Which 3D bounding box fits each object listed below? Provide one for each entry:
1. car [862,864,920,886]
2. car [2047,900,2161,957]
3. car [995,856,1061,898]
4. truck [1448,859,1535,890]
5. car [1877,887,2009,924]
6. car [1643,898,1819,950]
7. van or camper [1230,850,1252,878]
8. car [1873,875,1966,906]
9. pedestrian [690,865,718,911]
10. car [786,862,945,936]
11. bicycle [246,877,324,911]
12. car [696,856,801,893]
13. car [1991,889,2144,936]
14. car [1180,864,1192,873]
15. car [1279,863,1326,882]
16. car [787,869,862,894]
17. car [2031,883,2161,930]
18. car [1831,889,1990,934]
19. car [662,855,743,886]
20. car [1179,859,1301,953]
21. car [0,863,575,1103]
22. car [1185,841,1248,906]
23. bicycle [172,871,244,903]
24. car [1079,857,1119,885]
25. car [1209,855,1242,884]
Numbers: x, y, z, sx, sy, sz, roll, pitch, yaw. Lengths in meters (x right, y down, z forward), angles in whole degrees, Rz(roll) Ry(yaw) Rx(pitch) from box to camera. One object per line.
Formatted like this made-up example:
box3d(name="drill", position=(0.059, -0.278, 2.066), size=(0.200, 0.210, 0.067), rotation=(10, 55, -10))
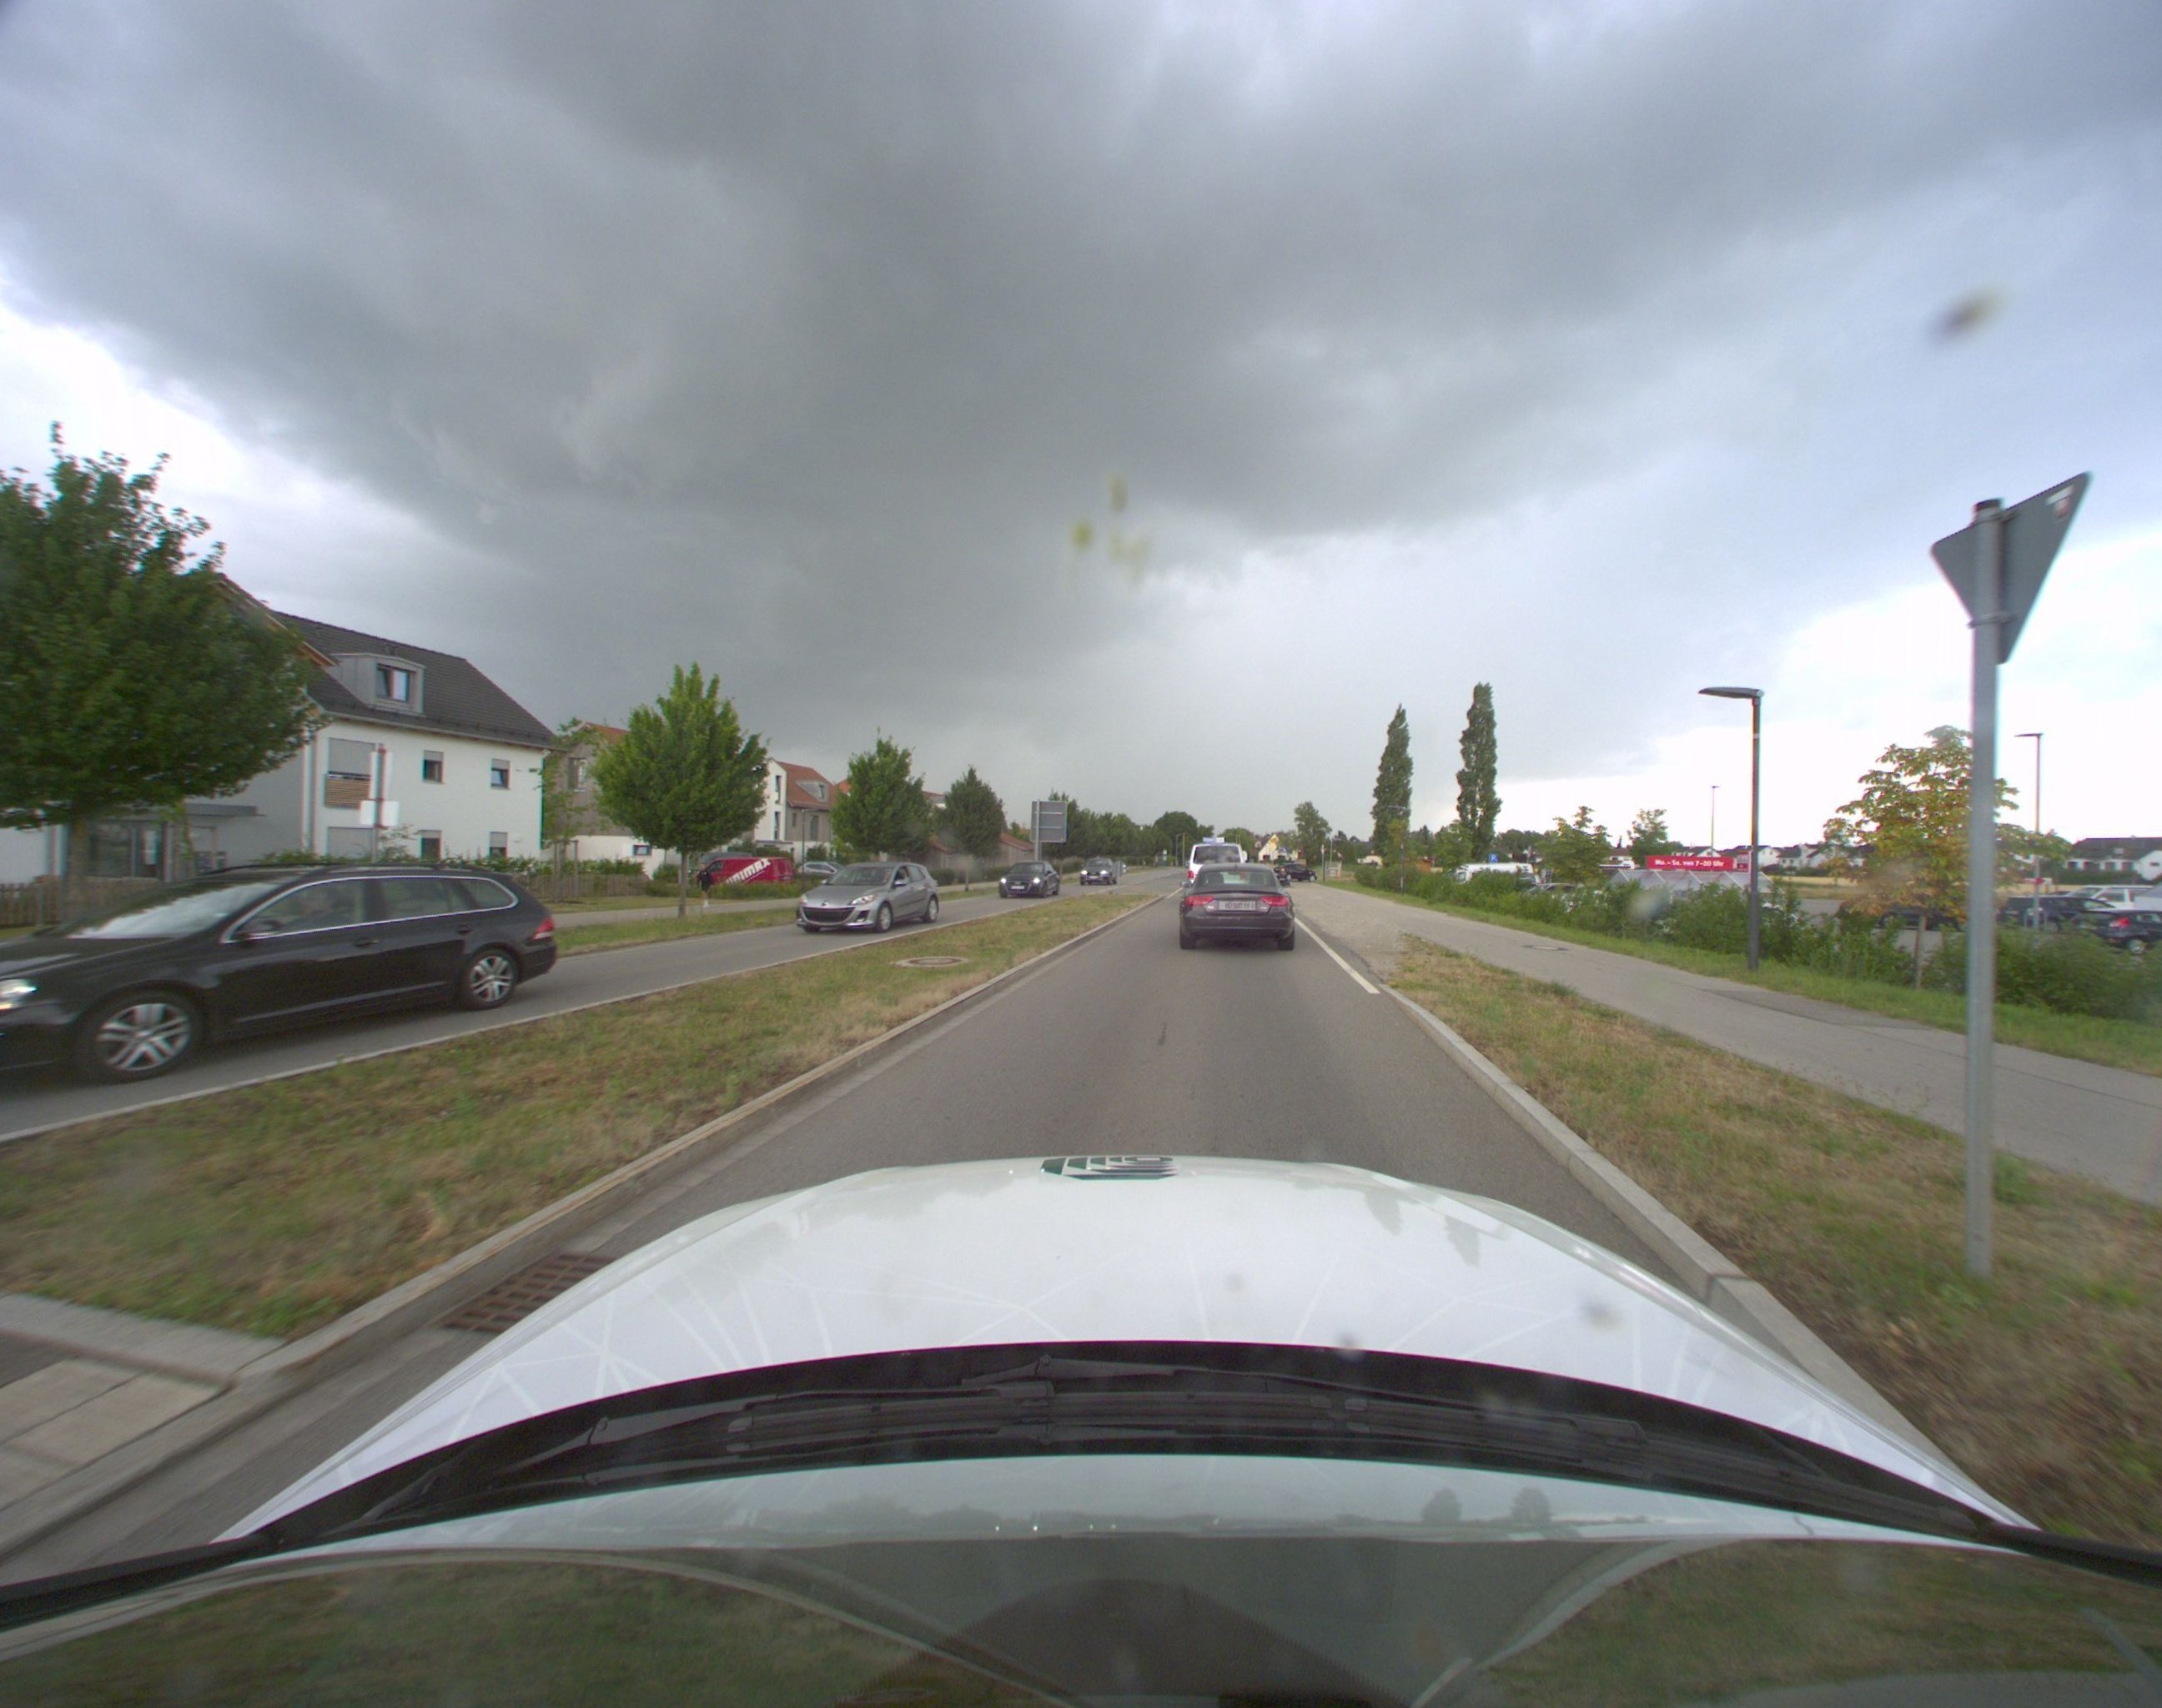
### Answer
box3d(name="car", position=(-13.771, 1.518, 59.100), size=(3.710, 1.482, 1.690), rotation=(1, 0, 6))
box3d(name="car", position=(34.773, 2.412, 26.294), size=(4.377, 1.664, 2.005), rotation=(1, 0, 10))
box3d(name="car", position=(-2.066, 0.893, 32.859), size=(1.856, 1.574, 4.009), rotation=(0, -1, 9))
box3d(name="truck", position=(27.064, 1.329, 53.819), size=(4.773, 1.872, 2.003), rotation=(2, -1, 5))
box3d(name="car", position=(42.535, 2.516, 40.284), size=(4.284, 1.578, 1.773), rotation=(1, -1, 11))
box3d(name="car", position=(21.819, 2.322, 27.503), size=(4.207, 1.440, 2.005), rotation=(1, -1, 10))
box3d(name="van or camper", position=(20.453, 1.316, 104.442), size=(2.609, 3.324, 6.838), rotation=(1, -1, 10))
box3d(name="car", position=(57.963, 2.515, 56.387), size=(3.959, 1.838, 2.007), rotation=(4, 0, 13))
box3d(name="pedestrian", position=(-13.334, 1.193, 28.825), size=(0.578, 1.559, 0.661), rotation=(1, -1, 8))
box3d(name="car", position=(-4.548, 0.891, 17.911), size=(1.719, 1.410, 4.218), rotation=(0, -1, 10))
box3d(name="bicycle", position=(-21.856, 1.084, 22.400), size=(0.365, 0.843, 1.552), rotation=(4, 0, 12))
box3d(name="car", position=(-16.743, 1.021, 41.106), size=(4.499, 1.680, 2.007), rotation=(1, -1, 13))
box3d(name="car", position=(41.552, 2.434, 34.387), size=(3.963, 1.706, 1.720), rotation=(2, -1, 9))
box3d(name="car", position=(19.646, 2.724, 152.586), size=(1.984, 1.508, 4.006), rotation=(2, -1, 5))
box3d(name="car", position=(17.747, 1.469, 65.227), size=(3.514, 1.372, 1.433), rotation=(2, -1, -22))
box3d(name="car", position=(-15.559, 1.656, 49.517), size=(3.893, 1.315, 1.846), rotation=(1, 0, 7))
box3d(name="car", position=(48.019, 2.438, 38.028), size=(5.093, 2.013, 2.000), rotation=(1, 1, -1))
box3d(name="car", position=(35.735, 2.440, 35.211), size=(4.529, 1.664, 2.005), rotation=(1, 0, 10))
box3d(name="car", position=(-22.971, 1.021, 49.597), size=(1.979, 1.772, 4.483), rotation=(1, -1, 15))
box3d(name="car", position=(2.657, 0.813, 14.209), size=(1.774, 1.391, 4.142), rotation=(-1, -1, 8))
box3d(name="car", position=(-6.901, 0.801, 7.030), size=(1.742, 1.416, 4.468), rotation=(-1, -1, 10))
box3d(name="car", position=(4.409, 0.623, 26.742), size=(1.857, 1.934, 4.009), rotation=(-1, -1, 8))
box3d(name="bicycle", position=(-24.552, 0.908, 22.940), size=(0.365, 0.843, 1.342), rotation=(4, 0, 12))
box3d(name="car", position=(1.145, 0.978, 48.805), size=(1.856, 1.574, 4.009), rotation=(1, 0, 9))
box3d(name="car", position=(8.608, 0.890, 48.319), size=(1.765, 1.618, 4.012), rotation=(1, 0, 11))
